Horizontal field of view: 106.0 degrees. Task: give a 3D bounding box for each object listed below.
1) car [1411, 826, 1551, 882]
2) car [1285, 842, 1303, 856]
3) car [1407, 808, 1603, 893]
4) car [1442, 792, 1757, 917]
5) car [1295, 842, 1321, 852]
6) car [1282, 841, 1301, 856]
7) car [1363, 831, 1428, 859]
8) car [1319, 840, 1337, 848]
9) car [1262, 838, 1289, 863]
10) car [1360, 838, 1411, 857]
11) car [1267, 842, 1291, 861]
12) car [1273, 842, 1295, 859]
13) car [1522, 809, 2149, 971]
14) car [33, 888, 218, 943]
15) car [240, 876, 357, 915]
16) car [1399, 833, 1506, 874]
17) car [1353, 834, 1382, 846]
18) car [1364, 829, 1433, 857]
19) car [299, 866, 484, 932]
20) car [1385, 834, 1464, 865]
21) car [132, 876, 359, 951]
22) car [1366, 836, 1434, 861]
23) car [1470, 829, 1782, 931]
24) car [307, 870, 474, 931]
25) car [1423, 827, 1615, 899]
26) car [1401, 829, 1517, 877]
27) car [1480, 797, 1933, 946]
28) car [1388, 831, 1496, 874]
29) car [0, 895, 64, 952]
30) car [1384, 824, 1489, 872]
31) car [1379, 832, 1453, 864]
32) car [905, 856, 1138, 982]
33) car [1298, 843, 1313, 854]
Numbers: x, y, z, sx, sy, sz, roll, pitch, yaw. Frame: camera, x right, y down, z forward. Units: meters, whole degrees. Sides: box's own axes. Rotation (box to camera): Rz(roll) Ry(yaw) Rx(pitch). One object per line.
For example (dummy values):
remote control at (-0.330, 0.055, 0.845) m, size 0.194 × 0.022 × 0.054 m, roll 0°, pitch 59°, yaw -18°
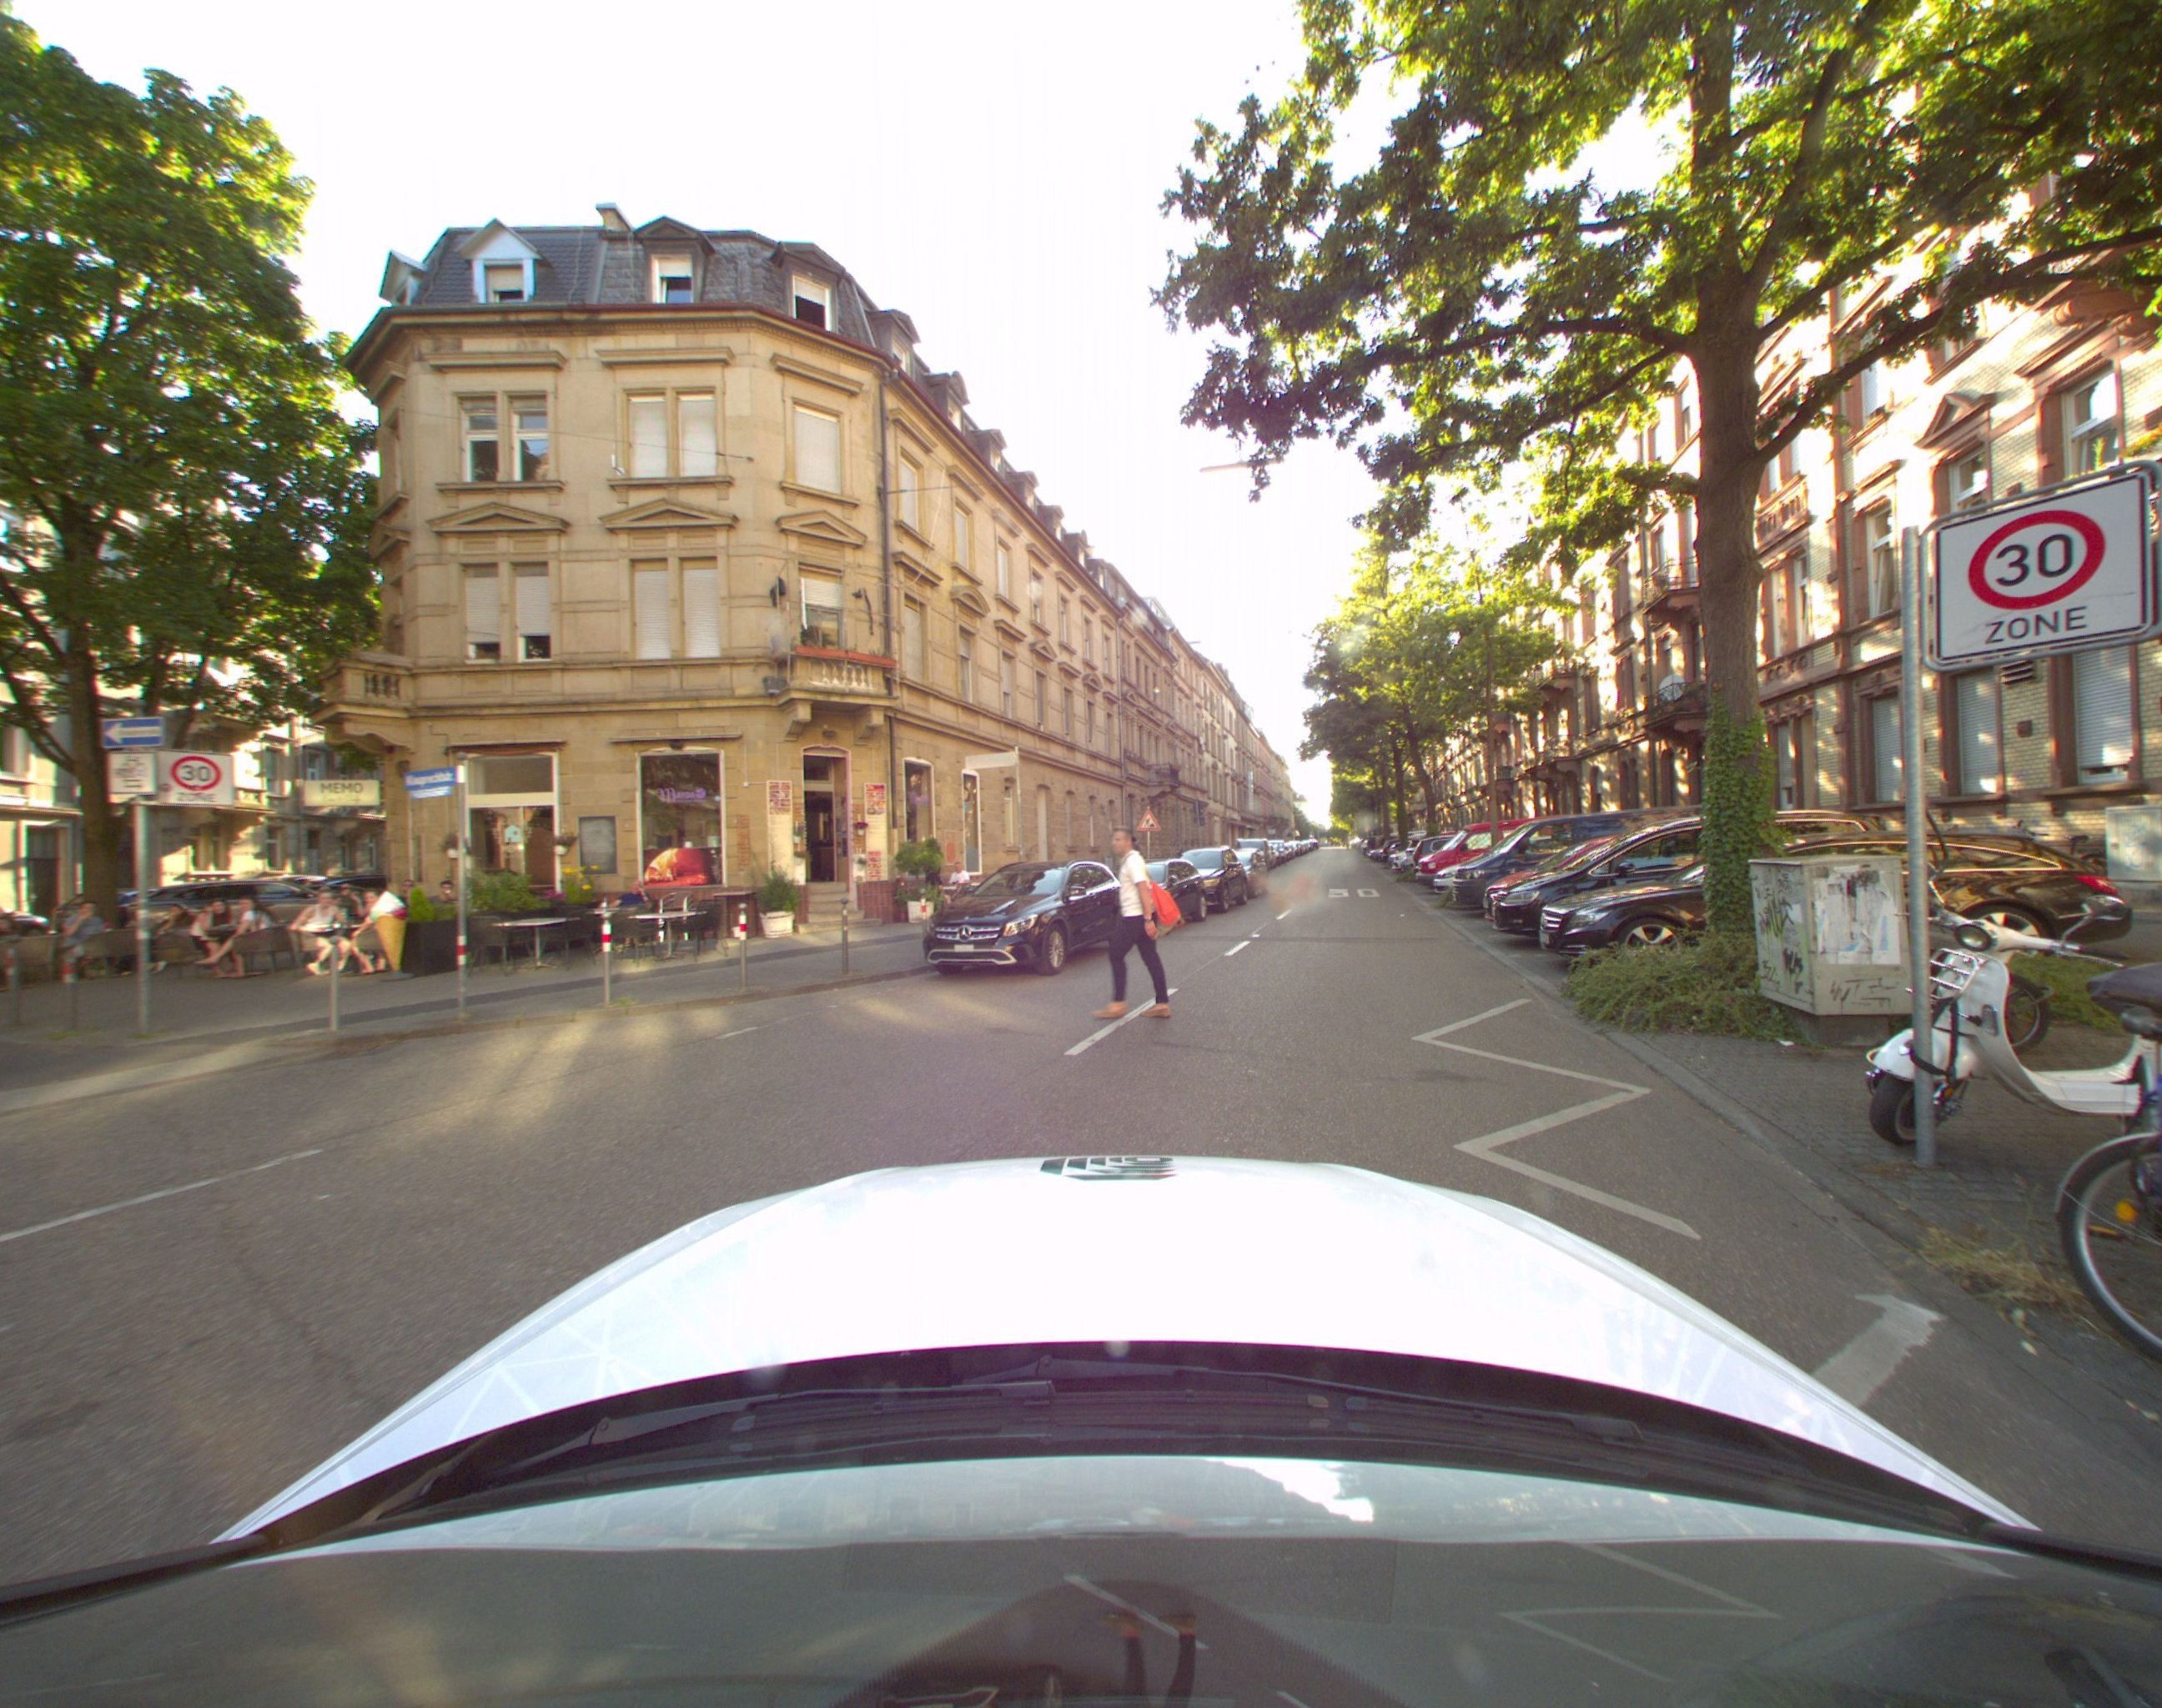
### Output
car at (13.859, 0.015, 28.499) m, size 4.151 × 1.628 × 1.847 m, roll -4°, pitch -1°, yaw 20°
car at (23.458, -0.573, 89.755) m, size 1.745 × 1.473 × 4.077 m, roll -3°, pitch 0°, yaw 16°
car at (12.178, -0.073, 23.728) m, size 4.641 × 2.033 × 1.886 m, roll -4°, pitch -1°, yaw 14°
car at (10.183, 0.059, 16.507) m, size 4.982 × 2.215 × 2.001 m, roll -2°, pitch 0°, yaw 16°
car at (36.476, -1.177, 130.925) m, size 4.021 × 1.486 × 1.976 m, roll -1°, pitch -2°, yaw -40°
car at (22.046, -0.560, 85.181) m, size 1.745 × 1.473 × 4.077 m, roll -3°, pitch 0°, yaw 16°
car at (24.282, -0.693, 62.879) m, size 4.210 × 1.795 × 1.834 m, roll -4°, pitch 0°, yaw -2°
car at (59.562, -2.494, 196.326) m, size 3.950 × 1.859 × 1.761 m, roll -1°, pitch 1°, yaw 25°
car at (15.279, -0.289, 63.853) m, size 1.745 × 1.842 × 4.549 m, roll -3°, pitch 0°, yaw 16°
car at (25.860, -0.562, 69.329) m, size 3.822 × 1.293 × 1.725 m, roll -4°, pitch 0°, yaw 14°
car at (16.757, -0.233, 68.708) m, size 1.745 × 1.473 × 4.077 m, roll -3°, pitch 0°, yaw 16°
car at (18.629, -0.349, 74.544) m, size 1.745 × 1.473 × 4.077 m, roll -3°, pitch 0°, yaw 16°
car at (7.792, 0.433, 9.109) m, size 4.745 × 1.413 × 1.860 m, roll -4°, pitch -1°, yaw 19°
car at (-29.289, 1.833, 25.171) m, size 1.927 × 1.376 × 3.731 m, roll -2°, pitch 0°, yaw -16°
car at (-32.275, 1.676, 33.752) m, size 1.927 × 1.376 × 3.731 m, roll -2°, pitch 0°, yaw -16°
car at (16.093, -0.007, 35.490) m, size 3.979 × 1.434 × 1.802 m, roll -5°, pitch -1°, yaw 17°
car at (42.690, -2.101, 121.336) m, size 3.820 × 1.573 × 1.726 m, roll -4°, pitch 0°, yaw 16°
car at (25.802, -0.878, 66.335) m, size 5.017 × 1.925 × 1.843 m, roll -4°, pitch 0°, yaw 17°
car at (-20.706, 1.307, 24.711) m, size 4.016 × 1.684 × 1.979 m, roll -2°, pitch 0°, yaw -34°
car at (19.916, -0.270, 47.373) m, size 3.979 × 1.467 × 1.742 m, roll -4°, pitch -1°, yaw 17°
car at (-20.942, 1.418, 20.553) m, size 1.780 × 1.562 × 3.860 m, roll -2°, pitch 0°, yaw 42°
car at (22.470, -0.386, 57.513) m, size 4.192 × 1.403 × 1.842 m, roll -4°, pitch 0°, yaw 12°
car at (9.005, 0.453, 13.878) m, size 4.073 × 1.534 × 1.733 m, roll -2°, pitch 0°, yaw 18°
car at (-22.535, 1.450, 26.668) m, size 4.023 × 1.684 × 1.975 m, roll -2°, pitch 0°, yaw -43°
car at (11.189, 0.241, 21.142) m, size 4.022 × 1.510 × 1.887 m, roll -4°, pitch -1°, yaw 17°
car at (15.292, -0.034, 33.159) m, size 3.980 × 1.628 × 1.813 m, roll -4°, pitch -1°, yaw 16°
car at (8.303, 0.295, 11.447) m, size 4.646 × 1.679 × 1.861 m, roll -4°, pitch -1°, yaw 23°
car at (16.661, -0.082, 37.809) m, size 4.310 × 1.556 × 1.858 m, roll -5°, pitch 0°, yaw 17°
car at (-28.084, 1.806, 20.082) m, size 1.927 × 1.376 × 3.731 m, roll -2°, pitch 0°, yaw -16°
car at (17.481, -0.306, 40.248) m, size 4.411 × 1.924 × 1.858 m, roll -5°, pitch 0°, yaw 15°
car at (20.442, -0.362, 49.823) m, size 3.979 × 1.607 × 1.742 m, roll -4°, pitch -1°, yaw 17°
car at (-0.654, 0.836, 12.127) m, size 1.743 × 1.488 × 4.161 m, roll -3°, pitch -1°, yaw 22°
car at (33.341, -0.741, 121.029) m, size 1.978 × 1.486 × 4.017 m, roll -3°, pitch -2°, yaw 17°
